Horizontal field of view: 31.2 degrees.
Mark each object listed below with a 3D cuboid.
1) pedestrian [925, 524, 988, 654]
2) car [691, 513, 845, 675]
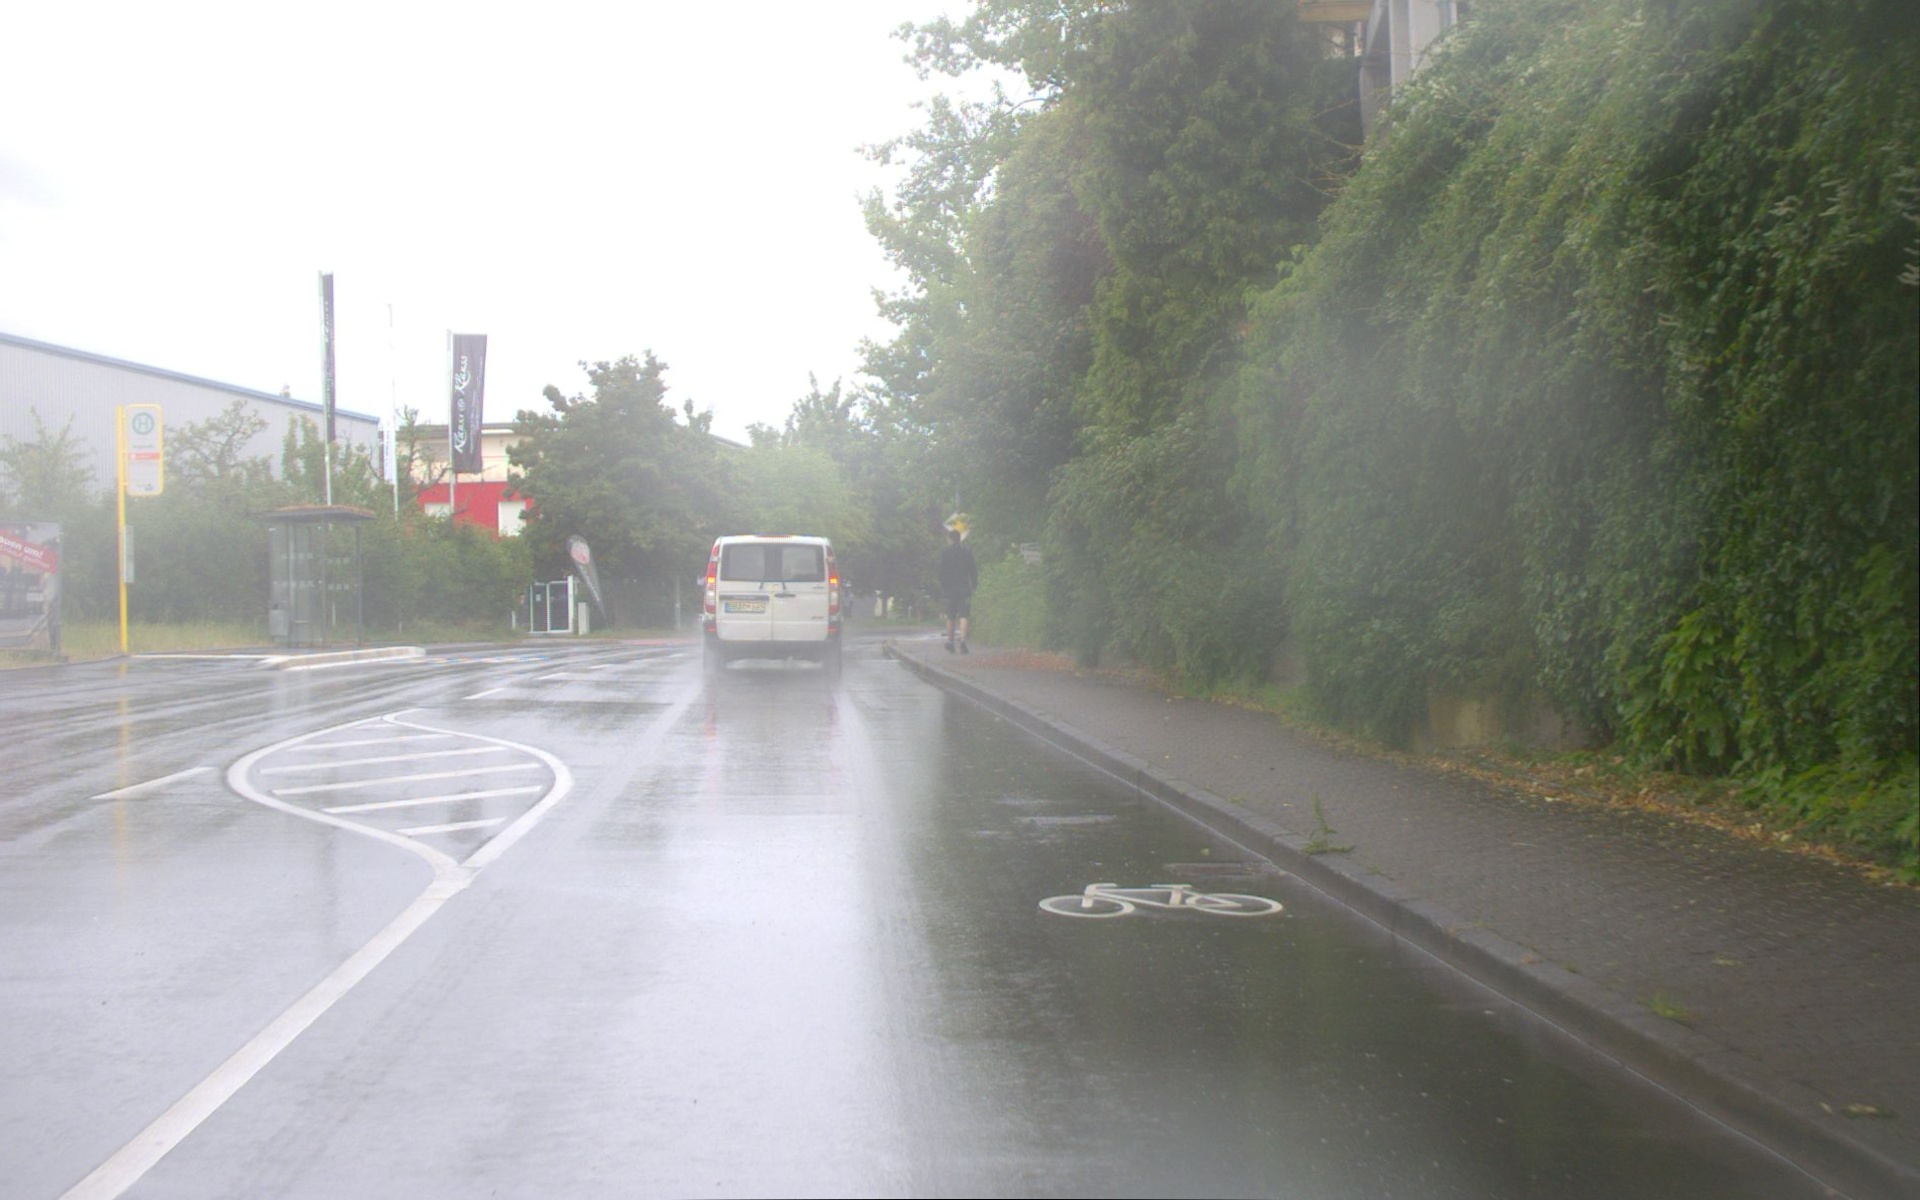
[{"bbox_3d":[-0.053,-0.163,52.010,0.776,1.900,0.728,-4,-1,-3],"label":"pedestrian"},{"bbox_3d":[-2.614,-0.106,47.759,1.898,2.011,5.373,-4,1,-2],"label":"car"}]
